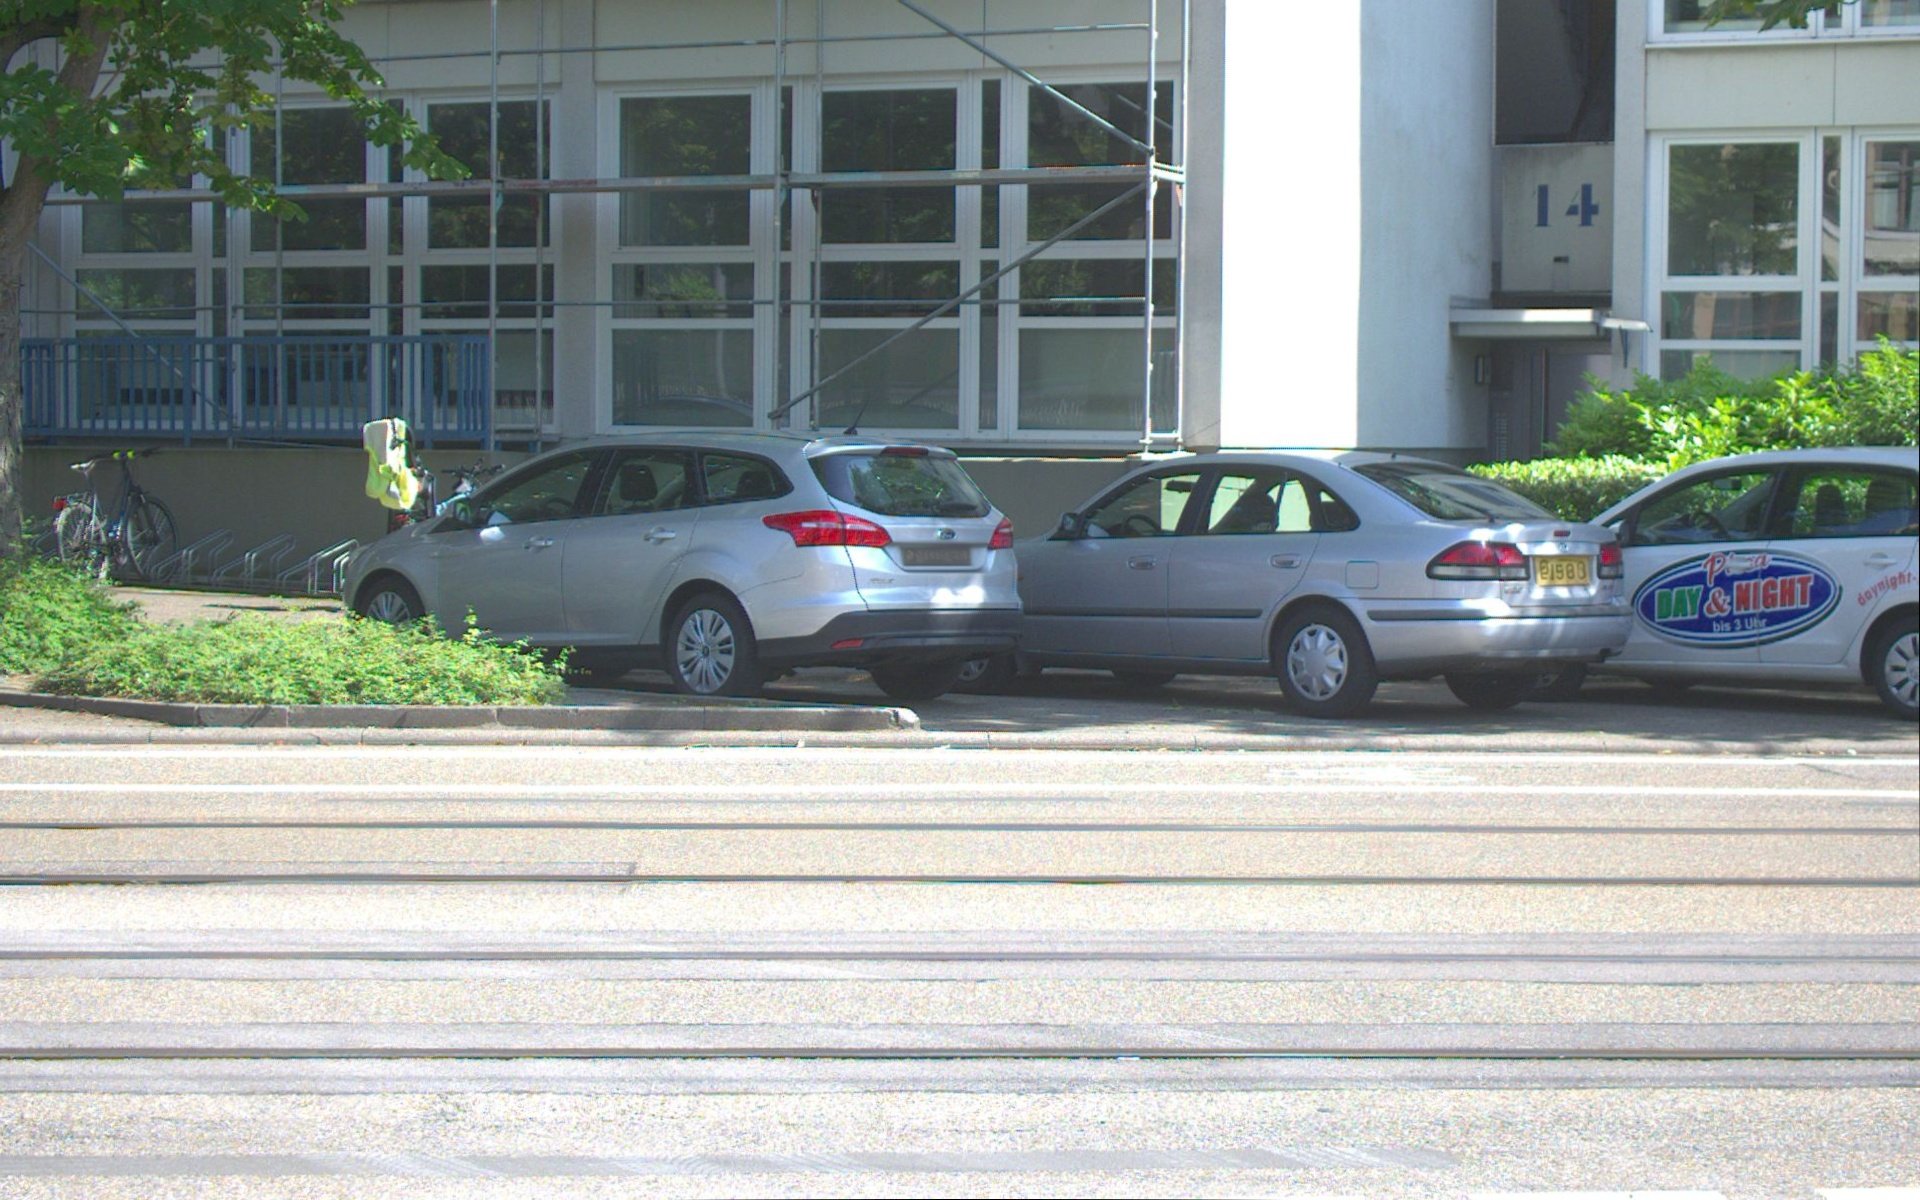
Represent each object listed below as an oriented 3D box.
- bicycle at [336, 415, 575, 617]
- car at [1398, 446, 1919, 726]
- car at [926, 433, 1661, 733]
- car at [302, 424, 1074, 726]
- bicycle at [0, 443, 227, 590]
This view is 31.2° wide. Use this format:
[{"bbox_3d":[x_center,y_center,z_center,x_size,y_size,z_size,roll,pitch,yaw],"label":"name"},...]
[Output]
[{"bbox_3d":[-3.773,-0.655,25.894,0.662,1.448,2.087,2,3,28],"label":"bicycle"},{"bbox_3d":[4.590,-0.133,19.674,3.942,1.481,1.609,2,3,43],"label":"car"},{"bbox_3d":[1.788,-0.174,19.317,3.943,1.481,1.609,3,4,44],"label":"car"},{"bbox_3d":[-1.633,-0.226,19.436,4.432,1.481,1.780,3,4,42],"label":"car"},{"bbox_3d":[-6.547,-0.674,26.691,0.741,1.082,2.202,1,3,15],"label":"bicycle"}]
